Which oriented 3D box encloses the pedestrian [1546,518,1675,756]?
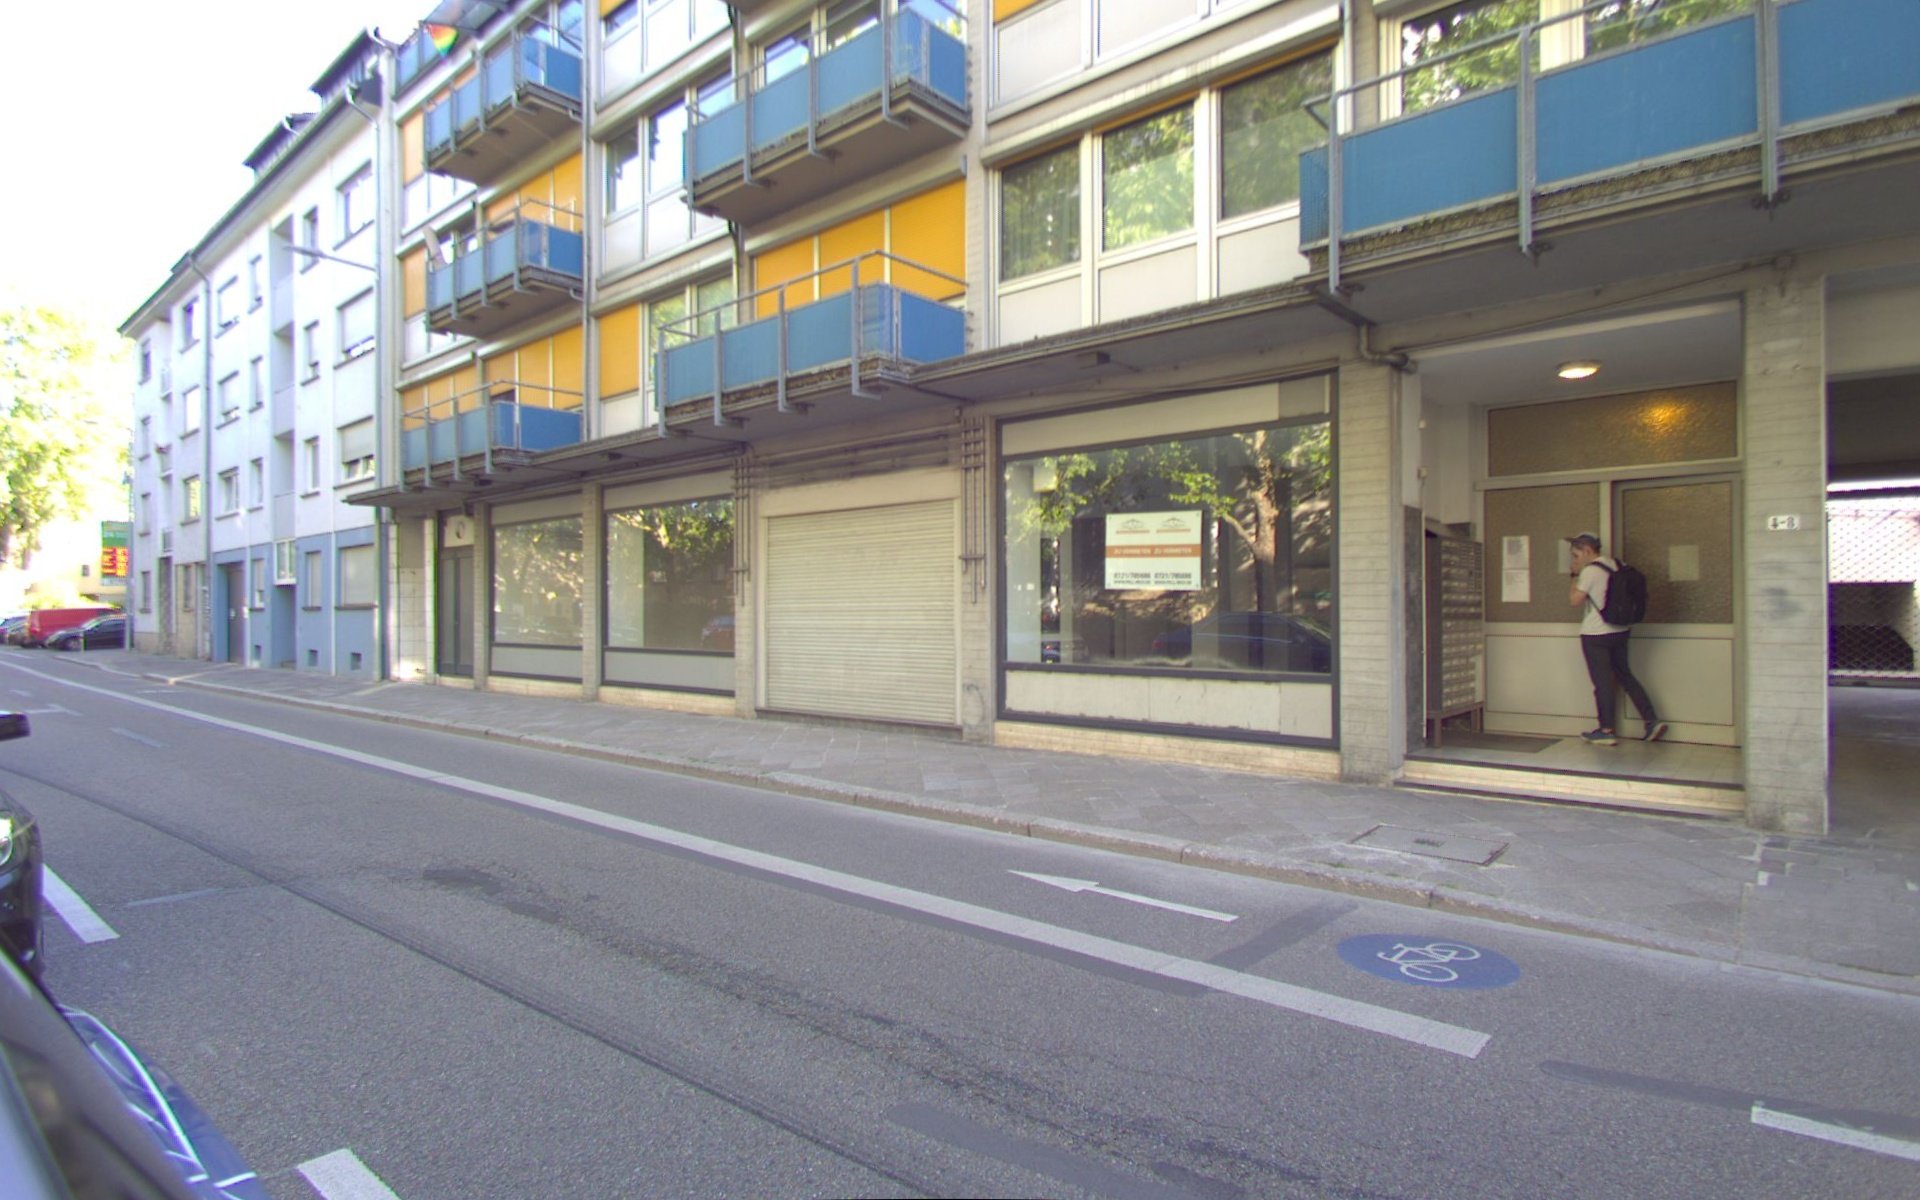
[{"bbox_3d":[5.414,0.297,8.462,0.781,1.894,0.577,-1,0,22],"label":"pedestrian"}]

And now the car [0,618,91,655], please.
[{"bbox_3d":[-51.569,2.010,56.835,2.000,1.962,3.944,-1,0,42],"label":"car"}]

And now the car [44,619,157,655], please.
[{"bbox_3d":[-41.175,1.743,48.531,2.000,1.564,3.944,-1,0,42],"label":"car"}]

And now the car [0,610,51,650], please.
[{"bbox_3d":[-62.796,1.955,66.792,2.000,2.538,3.944,-1,0,42],"label":"car"}]

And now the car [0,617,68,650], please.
[{"bbox_3d":[-59.205,2.108,64.022,2.000,1.962,3.944,-1,0,42],"label":"car"}]

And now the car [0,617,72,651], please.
[{"bbox_3d":[-57.405,2.085,62.289,2.000,1.962,3.944,-1,0,42],"label":"car"}]

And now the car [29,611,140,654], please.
[{"bbox_3d":[-43.429,1.573,50.256,2.000,1.962,3.944,-1,0,42],"label":"car"}]

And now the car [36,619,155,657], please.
[{"bbox_3d":[-39.756,1.725,46.610,2.000,1.564,3.944,-1,0,42],"label":"car"}]

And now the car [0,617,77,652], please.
[{"bbox_3d":[-55.600,2.062,60.571,2.000,1.962,3.944,-1,0,42],"label":"car"}]

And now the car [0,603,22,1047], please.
[{"bbox_3d":[-5.527,0.807,4.280,4.479,1.512,1.842,-1,-1,41],"label":"car"}]

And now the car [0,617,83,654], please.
[{"bbox_3d":[-53.519,2.035,58.618,2.000,1.962,3.944,-1,0,42],"label":"car"}]
